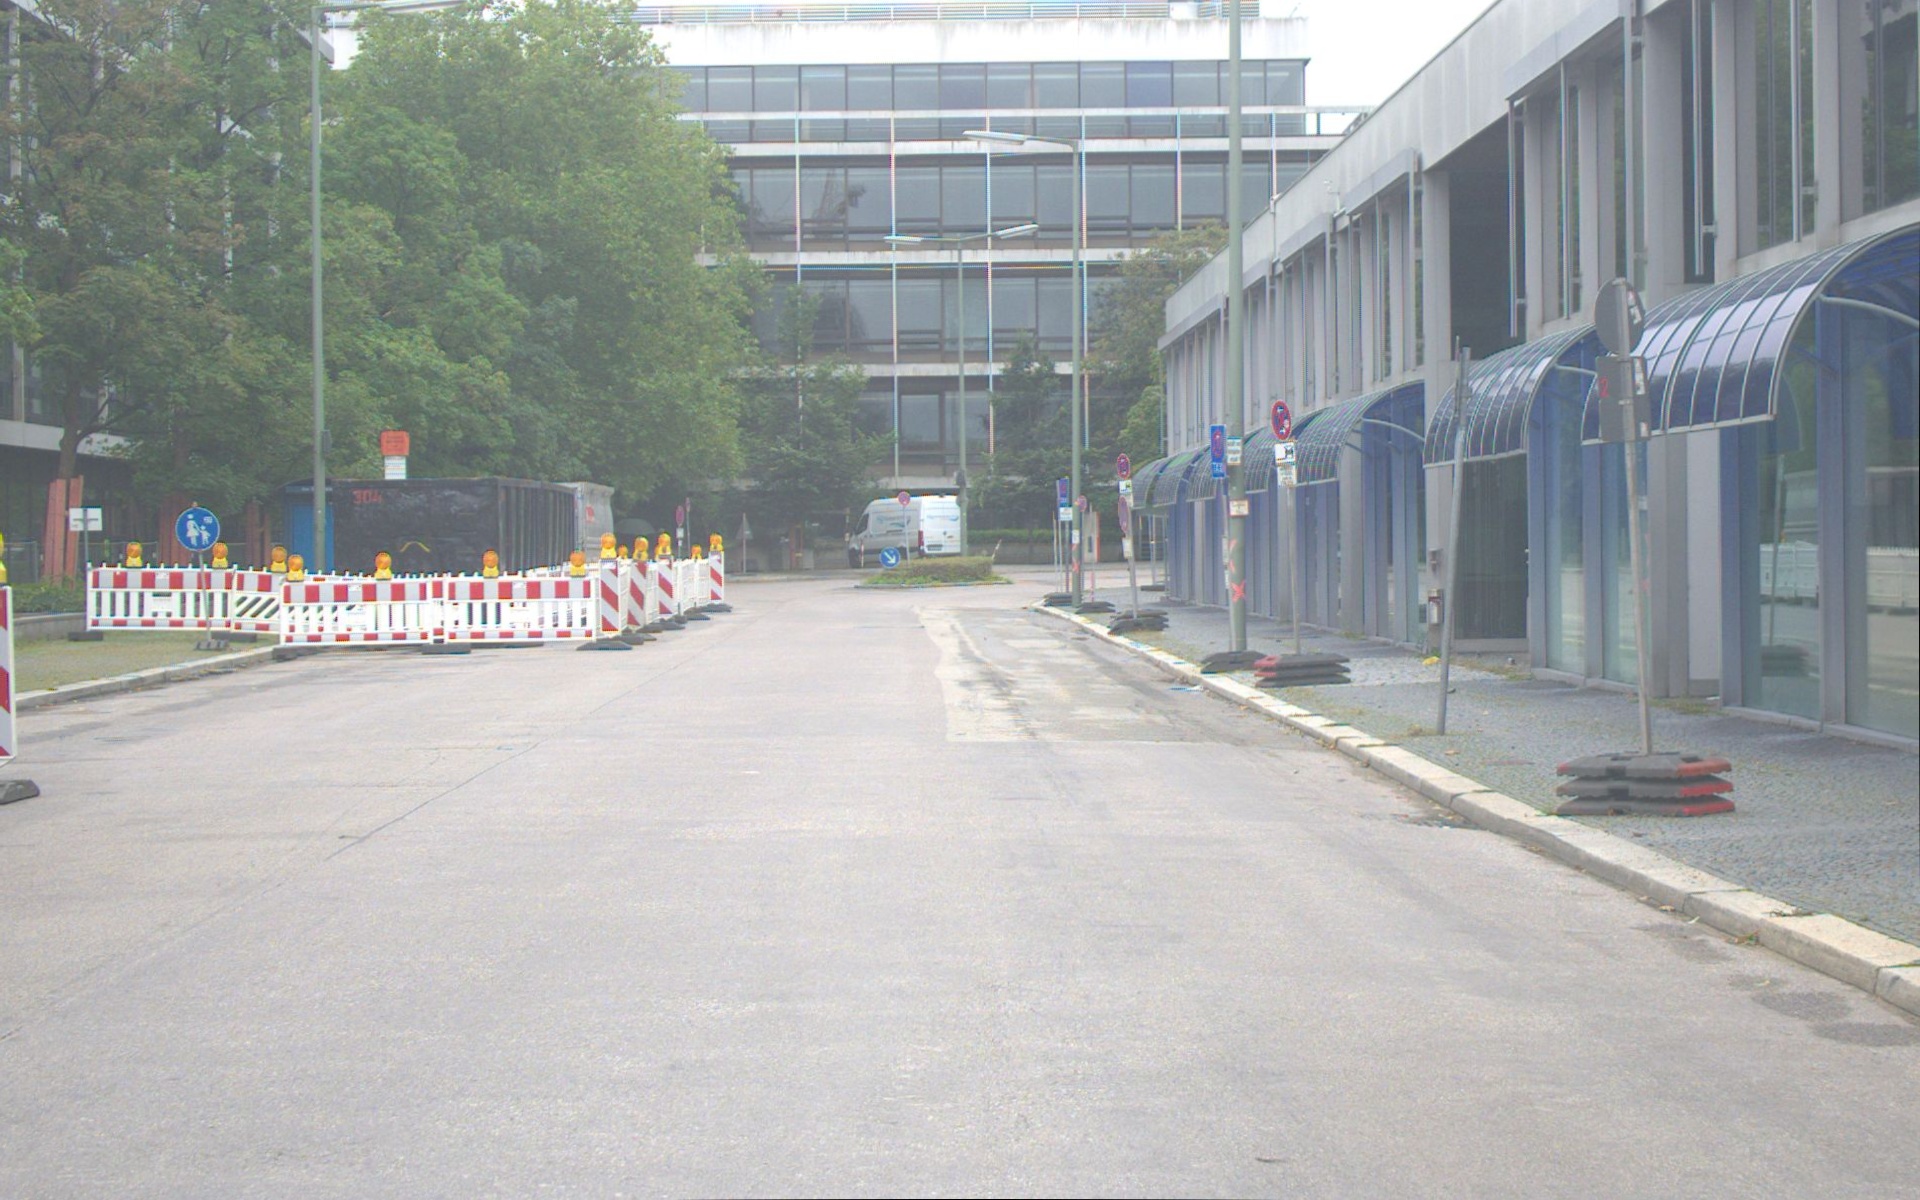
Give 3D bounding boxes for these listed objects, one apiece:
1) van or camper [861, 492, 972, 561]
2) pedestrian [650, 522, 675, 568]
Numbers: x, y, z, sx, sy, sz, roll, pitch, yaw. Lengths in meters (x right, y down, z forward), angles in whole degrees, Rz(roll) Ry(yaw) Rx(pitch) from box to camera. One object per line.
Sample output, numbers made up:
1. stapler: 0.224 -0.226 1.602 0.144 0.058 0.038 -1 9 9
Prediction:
1. van or camper: -1.622 -2.694 126.634 2.085 2.483 5.068 -1 1 -26
2. pedestrian: -10.847 -2.019 125.219 0.741 1.671 0.682 -1 1 -20
